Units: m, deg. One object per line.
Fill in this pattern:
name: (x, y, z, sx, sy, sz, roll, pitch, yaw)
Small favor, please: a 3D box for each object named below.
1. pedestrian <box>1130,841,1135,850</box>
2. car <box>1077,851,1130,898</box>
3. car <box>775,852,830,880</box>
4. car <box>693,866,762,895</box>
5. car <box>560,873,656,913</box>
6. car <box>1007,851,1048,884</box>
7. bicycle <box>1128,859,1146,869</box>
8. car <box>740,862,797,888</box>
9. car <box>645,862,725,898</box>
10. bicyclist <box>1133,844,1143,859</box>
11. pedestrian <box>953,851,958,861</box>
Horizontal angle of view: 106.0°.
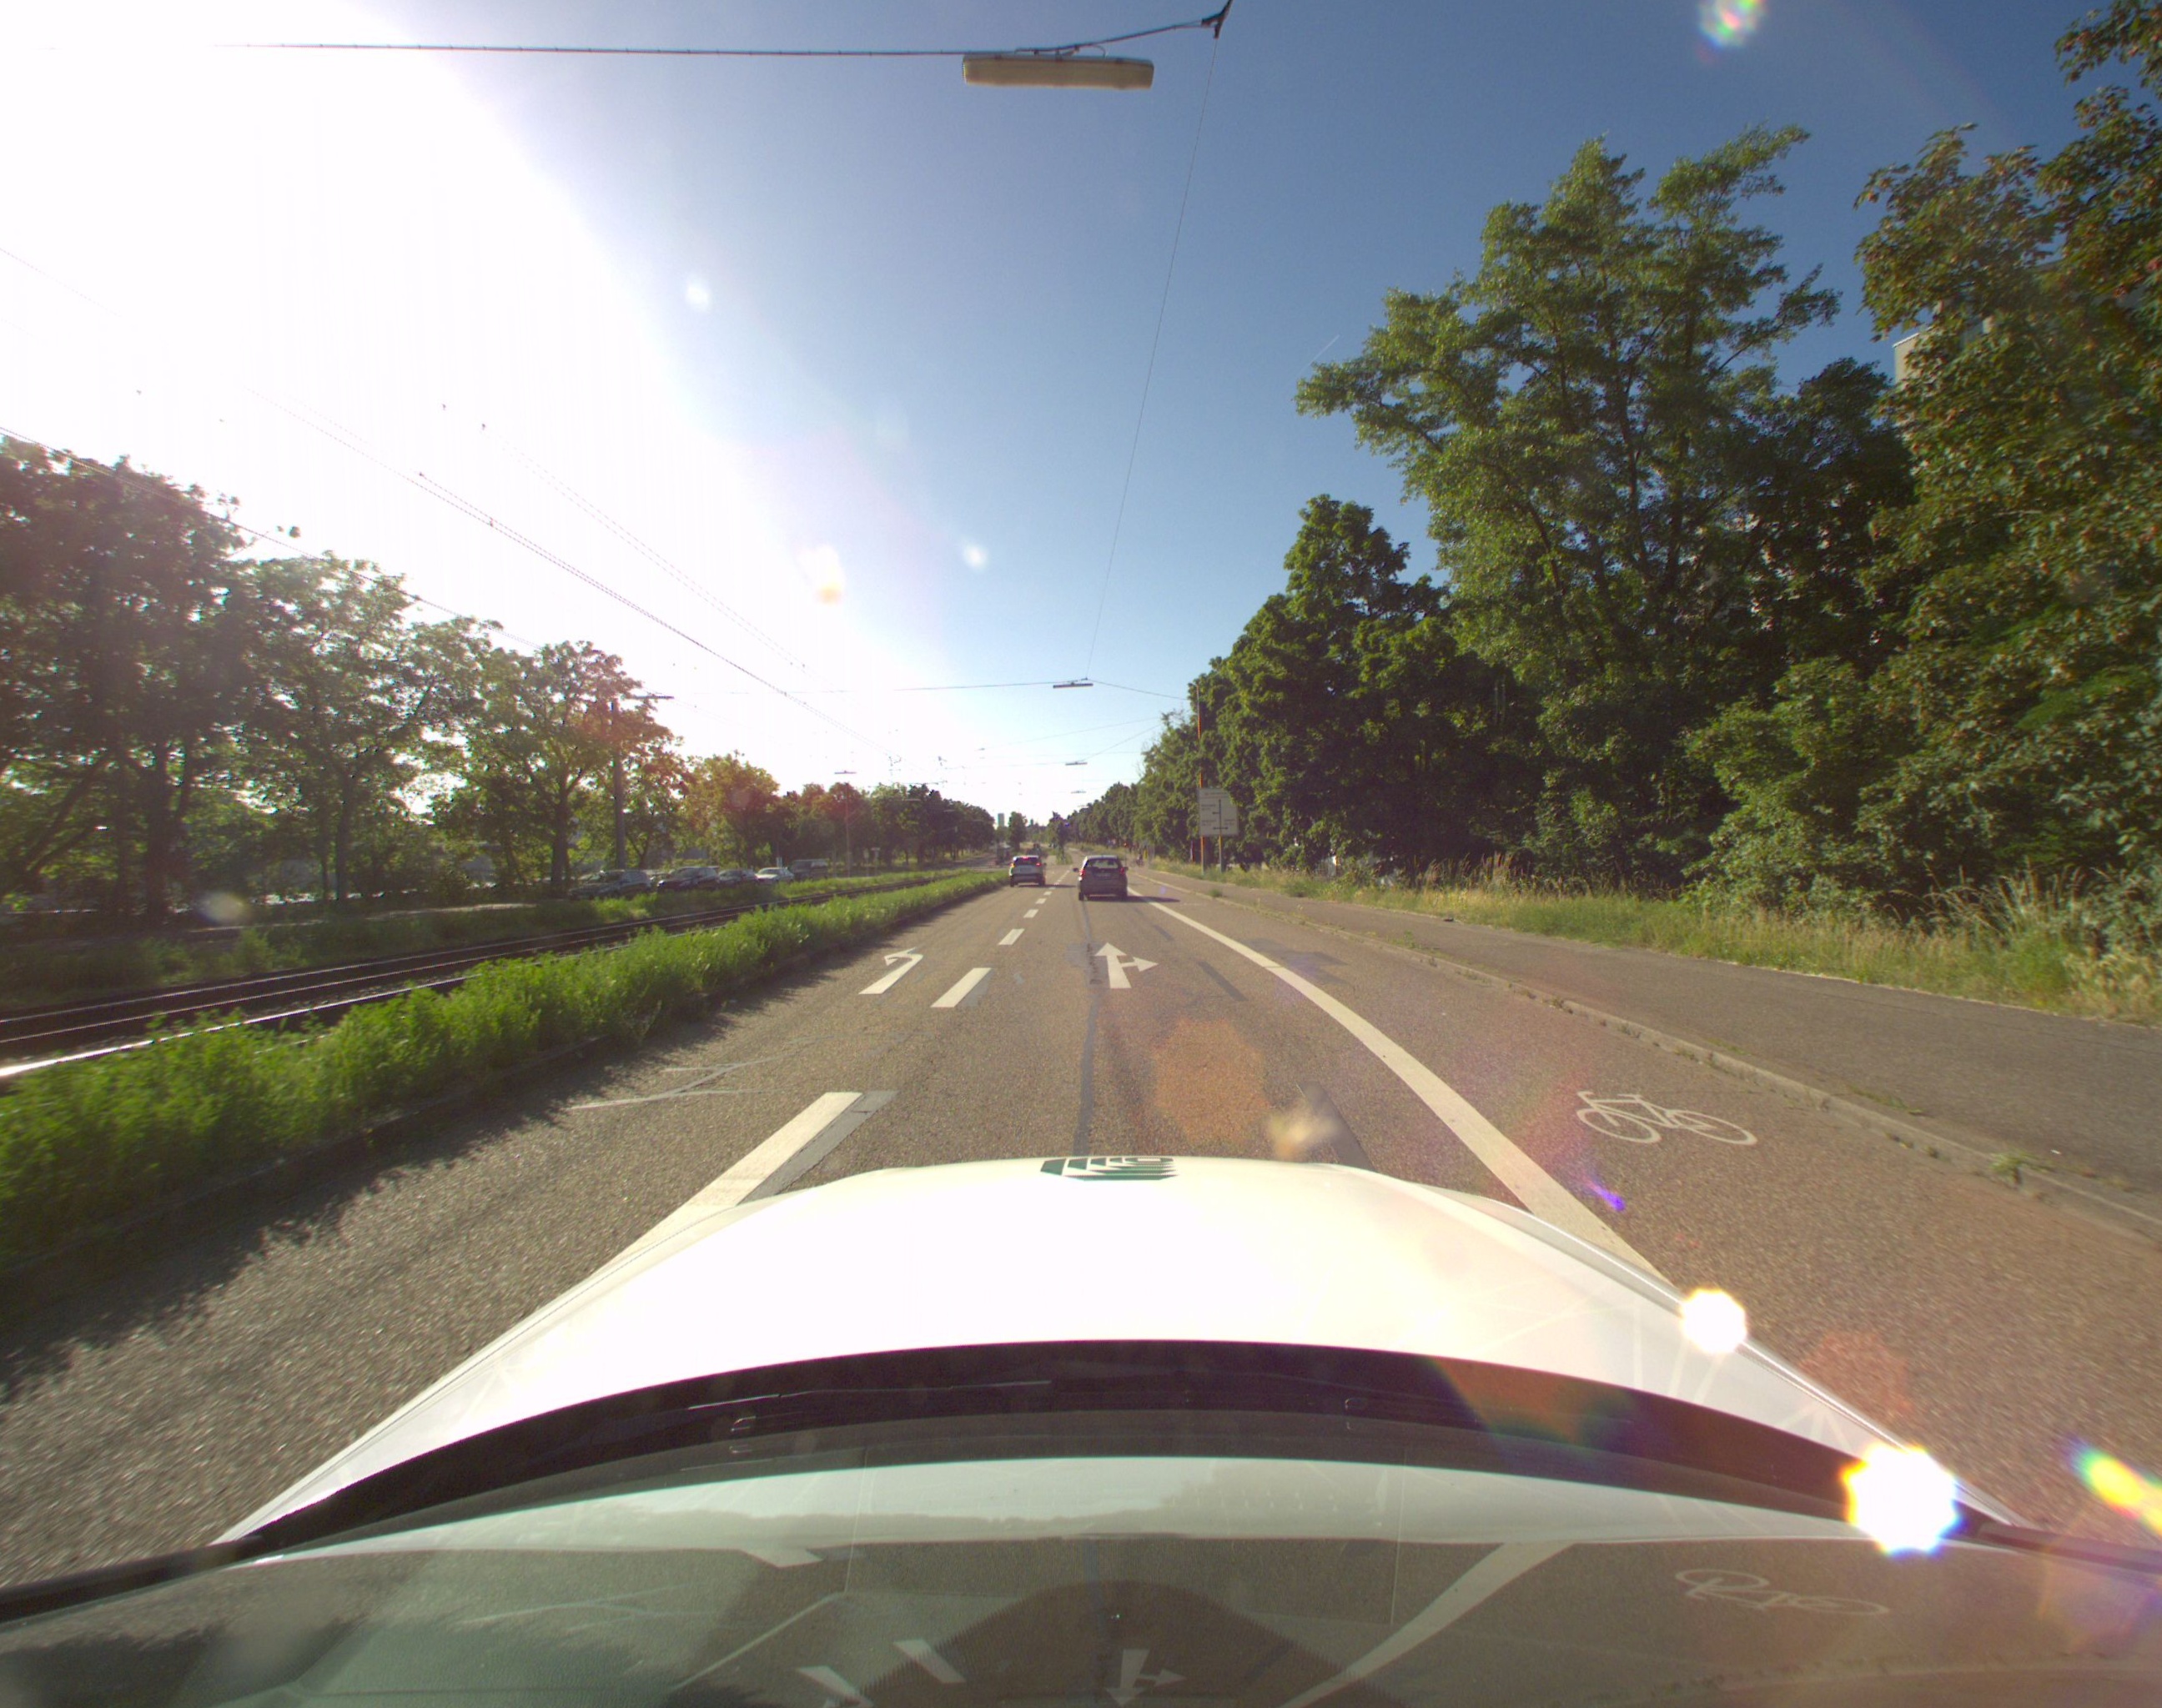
pedestrian: (9.329, -1.619, 147.601, 0.676, 1.610, 0.720, -1, 0, -2)
car: (0.780, 0.672, 28.922, 1.701, 1.508, 4.001, -1, 0, 1)
car: (-20.522, 0.815, 60.265, 2.188, 1.891, 4.794, -2, 1, 2)
car: (-20.342, 1.502, 47.040, 1.987, 1.437, 4.414, -2, 1, 0)
car: (-20.385, 1.639, 35.289, 1.730, 1.494, 4.324, 0, 0, -2)
car: (-2.781, 0.664, 43.168, 1.845, 1.606, 4.254, -2, 0, 0)
bicycle: (6.548, 1.176, 94.875, 1.908, 0.997, 0.766, -4, 0, 10)
car: (-20.601, 1.352, 53.896, 1.922, 1.437, 4.695, -2, 1, 0)
car: (-20.415, 1.304, 42.189, 1.988, 1.574, 4.432, -2, 1, -2)
bicyclist: (6.660, -0.320, 94.844, 0.904, 1.745, 0.766, -3, 0, 11)
pedestrian: (-25.474, 0.356, 164.783, 0.837, 2.013, 0.863, -2, 0, -2)
